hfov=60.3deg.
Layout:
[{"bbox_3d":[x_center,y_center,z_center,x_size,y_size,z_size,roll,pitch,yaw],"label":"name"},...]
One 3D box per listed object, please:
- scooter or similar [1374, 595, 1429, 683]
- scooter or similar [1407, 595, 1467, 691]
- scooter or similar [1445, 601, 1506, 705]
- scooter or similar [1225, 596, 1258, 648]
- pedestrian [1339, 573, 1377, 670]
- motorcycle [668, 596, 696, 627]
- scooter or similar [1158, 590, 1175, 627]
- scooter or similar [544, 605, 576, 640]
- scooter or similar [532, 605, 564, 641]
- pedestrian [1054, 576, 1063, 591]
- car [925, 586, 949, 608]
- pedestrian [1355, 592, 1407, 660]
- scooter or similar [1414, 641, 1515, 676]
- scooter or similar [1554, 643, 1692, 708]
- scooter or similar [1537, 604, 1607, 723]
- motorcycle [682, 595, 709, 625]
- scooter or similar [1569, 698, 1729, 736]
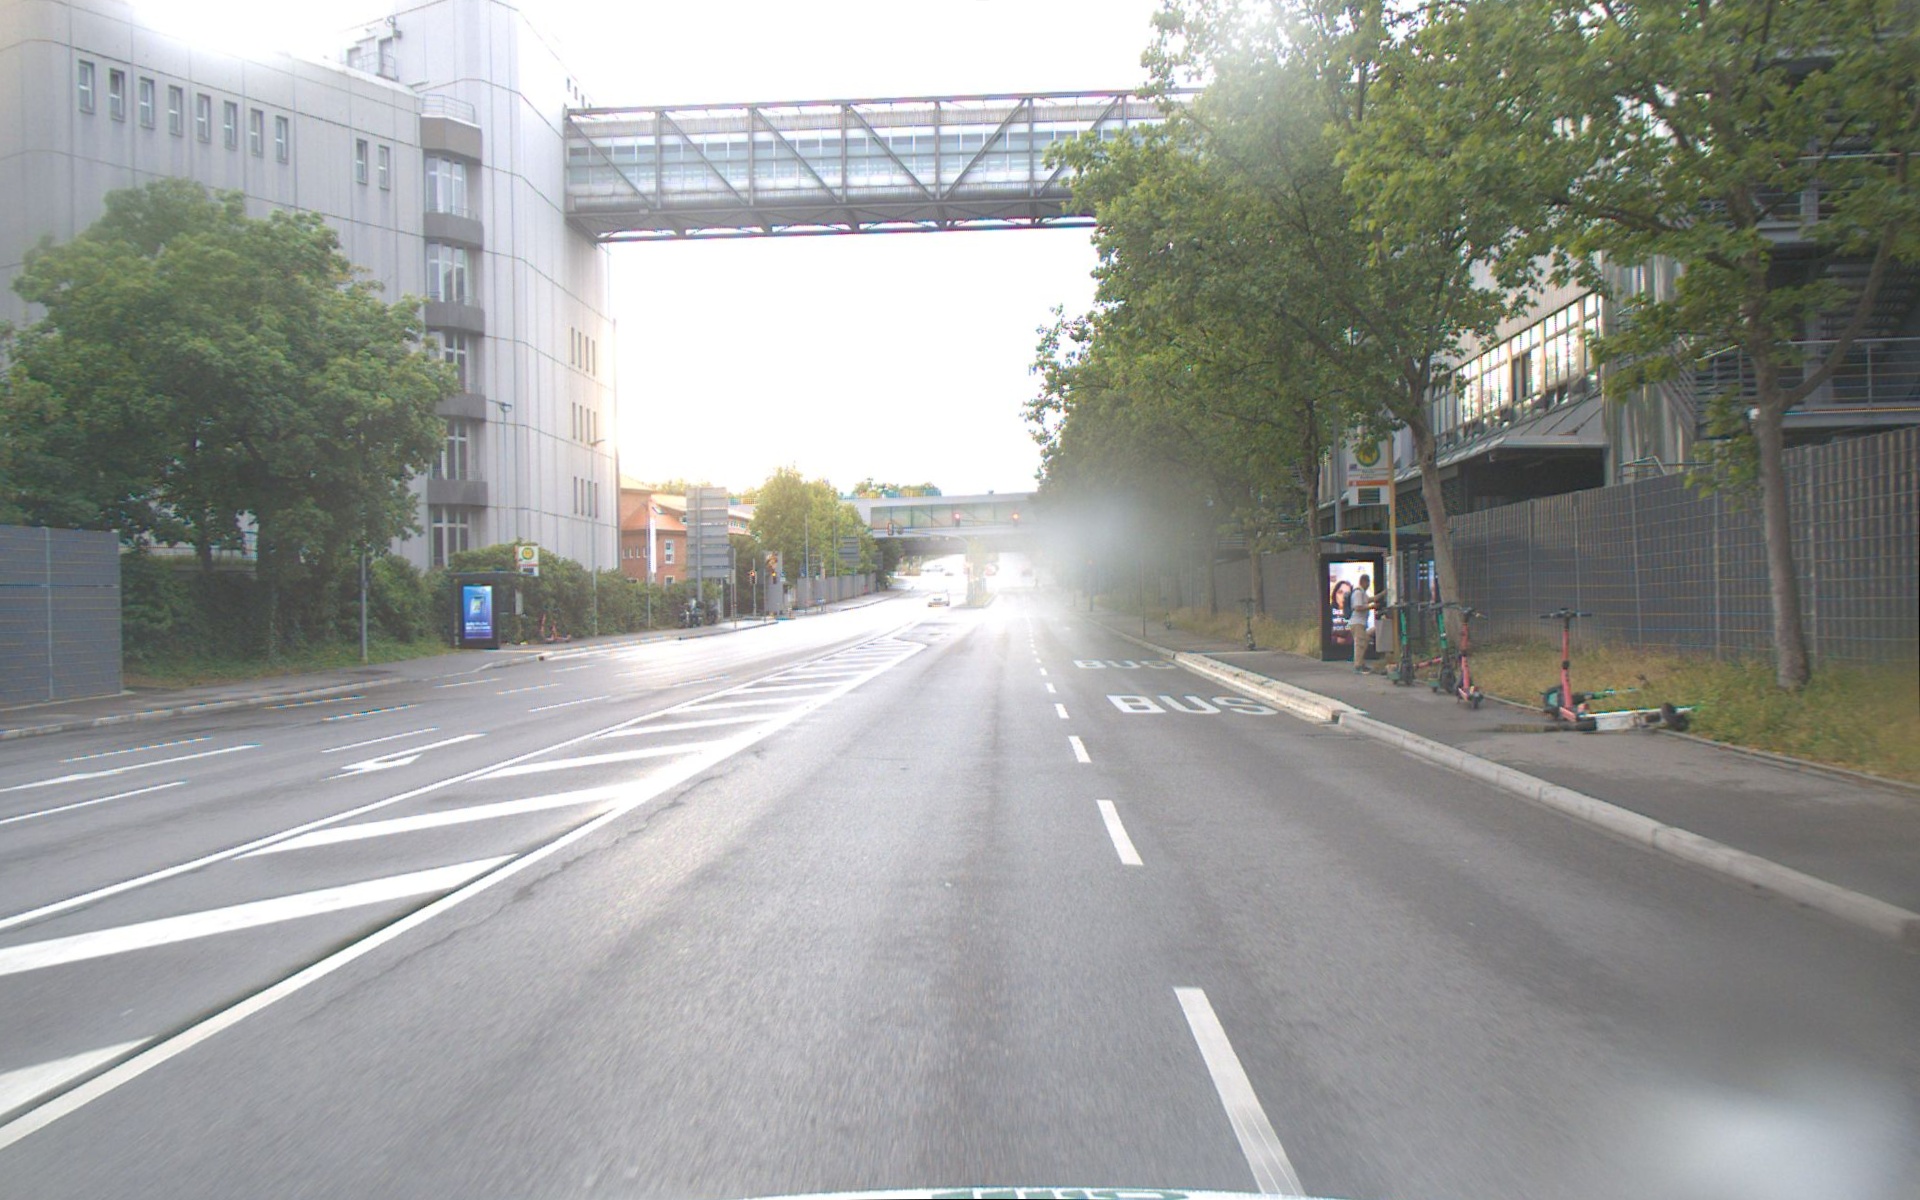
[{"bbox_3d":[6.878,0.588,25.829,0.492,1.315,1.434,-1,0,2],"label":"scooter or similar"},{"bbox_3d":[6.827,0.598,23.721,0.465,1.315,1.434,-1,0,2],"label":"scooter or similar"},{"bbox_3d":[6.654,0.664,21.381,0.424,1.292,1.194,-1,0,2],"label":"scooter or similar"},{"bbox_3d":[7.106,0.534,41.684,0.684,1.266,1.923,-1,0,13],"label":"scooter or similar"},{"bbox_3d":[7.037,0.375,29.295,0.471,1.696,0.662,-1,0,0],"label":"pedestrian"},{"bbox_3d":[-14.444,0.569,85.951,0.895,1.559,3.299,-1,0,0],"label":"motorcycle"},{"bbox_3d":[7.962,0.306,63.847,0.596,1.390,1.922,-1,0,7],"label":"scooter or similar"},{"bbox_3d":[-14.966,0.844,61.905,0.487,1.274,1.922,-1,0,7],"label":"scooter or similar"},{"bbox_3d":[-14.894,0.833,59.816,0.513,1.274,1.800,-1,0,7],"label":"scooter or similar"},{"bbox_3d":[13.375,-2.213,225.225,1.034,2.049,1.152,-1,0,13],"label":"pedestrian"},{"bbox_3d":[-1.937,-0.264,140.182,1.953,1.803,3.999,-1,0,-2],"label":"car"},{"bbox_3d":[8.495,0.516,33.395,0.930,1.340,0.686,-1,0,8],"label":"pedestrian"},{"bbox_3d":[8.212,0.948,26.924,1.528,0.528,0.644,-2,0,18],"label":"scooter or similar"},{"bbox_3d":[8.138,0.910,20.345,0.645,0.726,1.510,-2,0,-29],"label":"scooter or similar"},{"bbox_3d":[6.711,0.680,18.171,0.380,1.248,1.074,-1,0,2],"label":"scooter or similar"},{"bbox_3d":[-14.300,0.548,89.577,0.939,1.583,3.299,-1,0,0],"label":"motorcycle"},{"bbox_3d":[6.897,1.168,16.631,0.643,0.251,1.516,-2,0,-20],"label":"scooter or similar"}]
